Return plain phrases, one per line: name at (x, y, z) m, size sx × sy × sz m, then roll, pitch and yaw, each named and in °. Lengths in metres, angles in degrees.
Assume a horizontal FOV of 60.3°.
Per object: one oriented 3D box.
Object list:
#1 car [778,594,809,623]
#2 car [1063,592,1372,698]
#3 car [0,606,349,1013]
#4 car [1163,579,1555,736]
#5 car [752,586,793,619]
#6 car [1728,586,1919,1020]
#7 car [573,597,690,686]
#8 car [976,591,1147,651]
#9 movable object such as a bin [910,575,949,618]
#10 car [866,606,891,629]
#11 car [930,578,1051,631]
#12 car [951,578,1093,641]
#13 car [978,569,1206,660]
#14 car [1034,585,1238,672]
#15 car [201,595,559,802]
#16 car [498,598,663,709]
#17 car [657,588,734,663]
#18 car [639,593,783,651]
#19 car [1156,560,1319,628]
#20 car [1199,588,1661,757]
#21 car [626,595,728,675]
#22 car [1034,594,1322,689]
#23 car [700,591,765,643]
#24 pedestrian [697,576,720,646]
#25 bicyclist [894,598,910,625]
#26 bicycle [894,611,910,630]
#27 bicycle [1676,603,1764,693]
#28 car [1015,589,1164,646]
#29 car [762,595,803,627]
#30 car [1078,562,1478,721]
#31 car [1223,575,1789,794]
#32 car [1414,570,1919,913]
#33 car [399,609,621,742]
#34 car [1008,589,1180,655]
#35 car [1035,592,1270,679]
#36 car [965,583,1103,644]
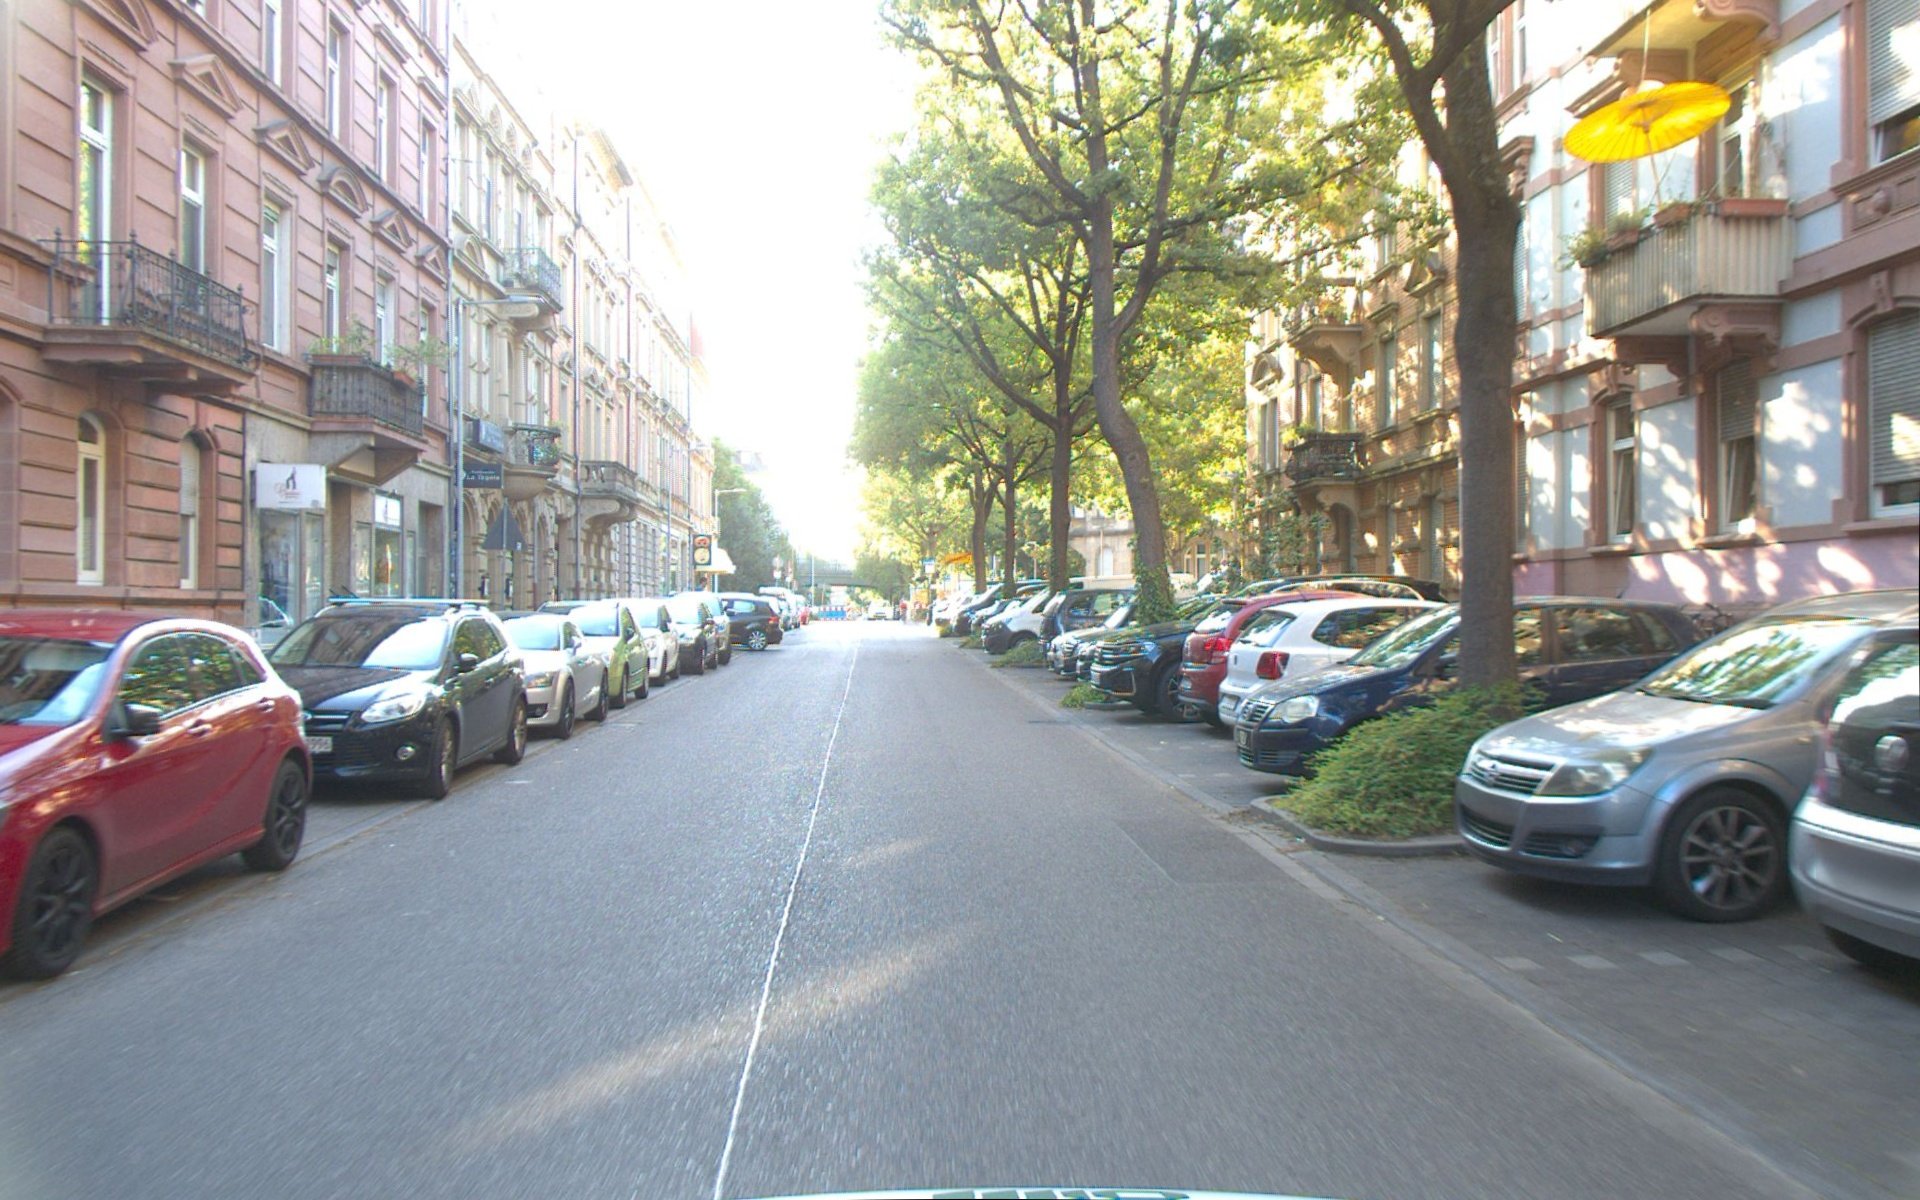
car at (-9.073, 0.456, 90.333) m, size 1.637 × 1.557 × 3.995 m, roll 0°, pitch 0°, yaw -6°
car at (3.922, 0.659, 25.732) m, size 4.460 × 1.556 × 1.999 m, roll 0°, pitch 0°, yaw -2°
car at (-4.584, 0.796, 8.066) m, size 1.785 × 1.450 × 4.311 m, roll 1°, pitch 0°, yaw -3°
car at (4.393, 0.598, 18.534) m, size 3.911 × 1.618 × 1.780 m, roll -1°, pitch 0°, yaw -7°
car at (-8.451, 0.105, 74.801) m, size 1.730 × 1.462 × 4.296 m, roll 0°, pitch 0°, yaw -5°
car at (5.305, 0.697, 6.218) m, size 4.018 × 1.495 × 1.800 m, roll 0°, pitch 0°, yaw -2°
car at (-5.912, 0.707, 30.155) m, size 1.550 × 1.499 × 3.997 m, roll 0°, pitch 0°, yaw -4°
car at (2.628, 0.541, 43.451) m, size 4.282 × 1.481 × 1.933 m, roll -1°, pitch 0°, yaw -3°
movable object such as a bin at (-1.992, -0.219, 108.417) m, size 1.951 × 2.747 × 3.113 m, roll 0°, pitch -1°, yaw 10°
car at (-5.713, 1.229, 115.268) m, size 1.714 × 1.535 × 3.997 m, roll 0°, pitch 0°, yaw -3°
car at (1.220, 0.180, 68.374) m, size 4.874 × 2.132 × 2.104 m, roll 0°, pitch 0°, yaw -3°
car at (2.030, 0.306, 55.369) m, size 4.526 × 2.049 × 1.998 m, roll 0°, pitch 0°, yaw -6°
car at (2.974, 0.354, 38.138) m, size 4.990 × 1.974 × 2.156 m, roll 0°, pitch -3°, yaw -3°
car at (3.523, 0.554, 33.500) m, size 3.811 × 1.678 × 1.722 m, roll 0°, pitch 0°, yaw -8°
car at (-4.879, 0.735, 14.603) m, size 1.785 × 1.503 × 4.420 m, roll 1°, pitch 0°, yaw -3°
car at (-5.442, 0.717, 24.135) m, size 1.671 × 1.464 × 3.957 m, roll 0°, pitch 0°, yaw -3°
car at (-6.214, 0.566, 39.172) m, size 1.616 × 1.601 × 4.043 m, roll 3°, pitch 0°, yaw -7°
car at (-6.977, 0.603, 46.476) m, size 3.913 × 1.556 × 1.822 m, roll -1°, pitch 0°, yaw -9°
car at (10.732, -0.217, 64.188) m, size 5.786 × 2.582 × 2.375 m, roll 0°, pitch 0°, yaw -9°
car at (4.436, 0.644, 15.937) m, size 3.911 × 1.488 × 1.780 m, roll -1°, pitch 0°, yaw -7°
car at (-5.839, 0.683, 34.488) m, size 1.615 × 1.498 × 3.997 m, roll 3°, pitch 0°, yaw -4°
car at (3.668, 0.669, 28.265) m, size 4.570 × 1.529 × 1.929 m, roll 0°, pitch 0°, yaw -7°
car at (-7.259, 0.512, 52.981) m, size 1.706 × 1.594 × 3.893 m, roll 0°, pitch 0°, yaw -3°
pedestrian at (-6.920, 0.305, 45.482) m, size 0.626 × 1.921 × 0.590 m, roll 0°, pitch 0°, yaw -10°
bicyclist at (-3.092, 0.624, 87.833) m, size 0.787 × 1.407 × 0.984 m, roll 1°, pitch 0°, yaw -4°
bicycle at (-3.096, 1.065, 87.801) m, size 0.787 × 0.985 × 2.107 m, roll 1°, pitch 0°, yaw -4°
bicycle at (9.465, 0.579, 20.647) m, size 0.317 × 1.069 × 1.704 m, roll 0°, pitch 0°, yaw 0°
car at (3.613, 0.473, 46.711) m, size 4.000 × 1.524 × 1.842 m, roll -1°, pitch 0°, yaw -3°
car at (-8.580, 0.515, 80.018) m, size 1.691 × 1.462 × 3.994 m, roll 2°, pitch 0°, yaw -3°
car at (3.921, 0.479, 20.812) m, size 4.556 × 1.732 × 1.879 m, roll -2°, pitch 0°, yaw -7°
car at (4.244, 0.619, 13.211) m, size 3.909 × 1.412 × 1.676 m, roll -3°, pitch 0°, yaw -4°
car at (4.701, 0.635, 8.653) m, size 4.141 × 1.563 × 1.799 m, roll 0°, pitch 0°, yaw -6°
car at (-5.151, 0.800, 19.468) m, size 1.671 × 1.346 × 4.099 m, roll 0°, pitch 0°, yaw -3°
car at (3.311, 0.521, 41.143) m, size 3.915 × 1.500 × 1.777 m, roll -2°, pitch 0°, yaw -11°
car at (3.525, 0.628, 30.658) m, size 4.028 × 1.529 × 1.808 m, roll 0°, pitch 0°, yaw -8°
car at (2.360, 0.423, 53.199) m, size 4.187 × 1.918 × 1.936 m, roll 0°, pitch 0°, yaw -7°
